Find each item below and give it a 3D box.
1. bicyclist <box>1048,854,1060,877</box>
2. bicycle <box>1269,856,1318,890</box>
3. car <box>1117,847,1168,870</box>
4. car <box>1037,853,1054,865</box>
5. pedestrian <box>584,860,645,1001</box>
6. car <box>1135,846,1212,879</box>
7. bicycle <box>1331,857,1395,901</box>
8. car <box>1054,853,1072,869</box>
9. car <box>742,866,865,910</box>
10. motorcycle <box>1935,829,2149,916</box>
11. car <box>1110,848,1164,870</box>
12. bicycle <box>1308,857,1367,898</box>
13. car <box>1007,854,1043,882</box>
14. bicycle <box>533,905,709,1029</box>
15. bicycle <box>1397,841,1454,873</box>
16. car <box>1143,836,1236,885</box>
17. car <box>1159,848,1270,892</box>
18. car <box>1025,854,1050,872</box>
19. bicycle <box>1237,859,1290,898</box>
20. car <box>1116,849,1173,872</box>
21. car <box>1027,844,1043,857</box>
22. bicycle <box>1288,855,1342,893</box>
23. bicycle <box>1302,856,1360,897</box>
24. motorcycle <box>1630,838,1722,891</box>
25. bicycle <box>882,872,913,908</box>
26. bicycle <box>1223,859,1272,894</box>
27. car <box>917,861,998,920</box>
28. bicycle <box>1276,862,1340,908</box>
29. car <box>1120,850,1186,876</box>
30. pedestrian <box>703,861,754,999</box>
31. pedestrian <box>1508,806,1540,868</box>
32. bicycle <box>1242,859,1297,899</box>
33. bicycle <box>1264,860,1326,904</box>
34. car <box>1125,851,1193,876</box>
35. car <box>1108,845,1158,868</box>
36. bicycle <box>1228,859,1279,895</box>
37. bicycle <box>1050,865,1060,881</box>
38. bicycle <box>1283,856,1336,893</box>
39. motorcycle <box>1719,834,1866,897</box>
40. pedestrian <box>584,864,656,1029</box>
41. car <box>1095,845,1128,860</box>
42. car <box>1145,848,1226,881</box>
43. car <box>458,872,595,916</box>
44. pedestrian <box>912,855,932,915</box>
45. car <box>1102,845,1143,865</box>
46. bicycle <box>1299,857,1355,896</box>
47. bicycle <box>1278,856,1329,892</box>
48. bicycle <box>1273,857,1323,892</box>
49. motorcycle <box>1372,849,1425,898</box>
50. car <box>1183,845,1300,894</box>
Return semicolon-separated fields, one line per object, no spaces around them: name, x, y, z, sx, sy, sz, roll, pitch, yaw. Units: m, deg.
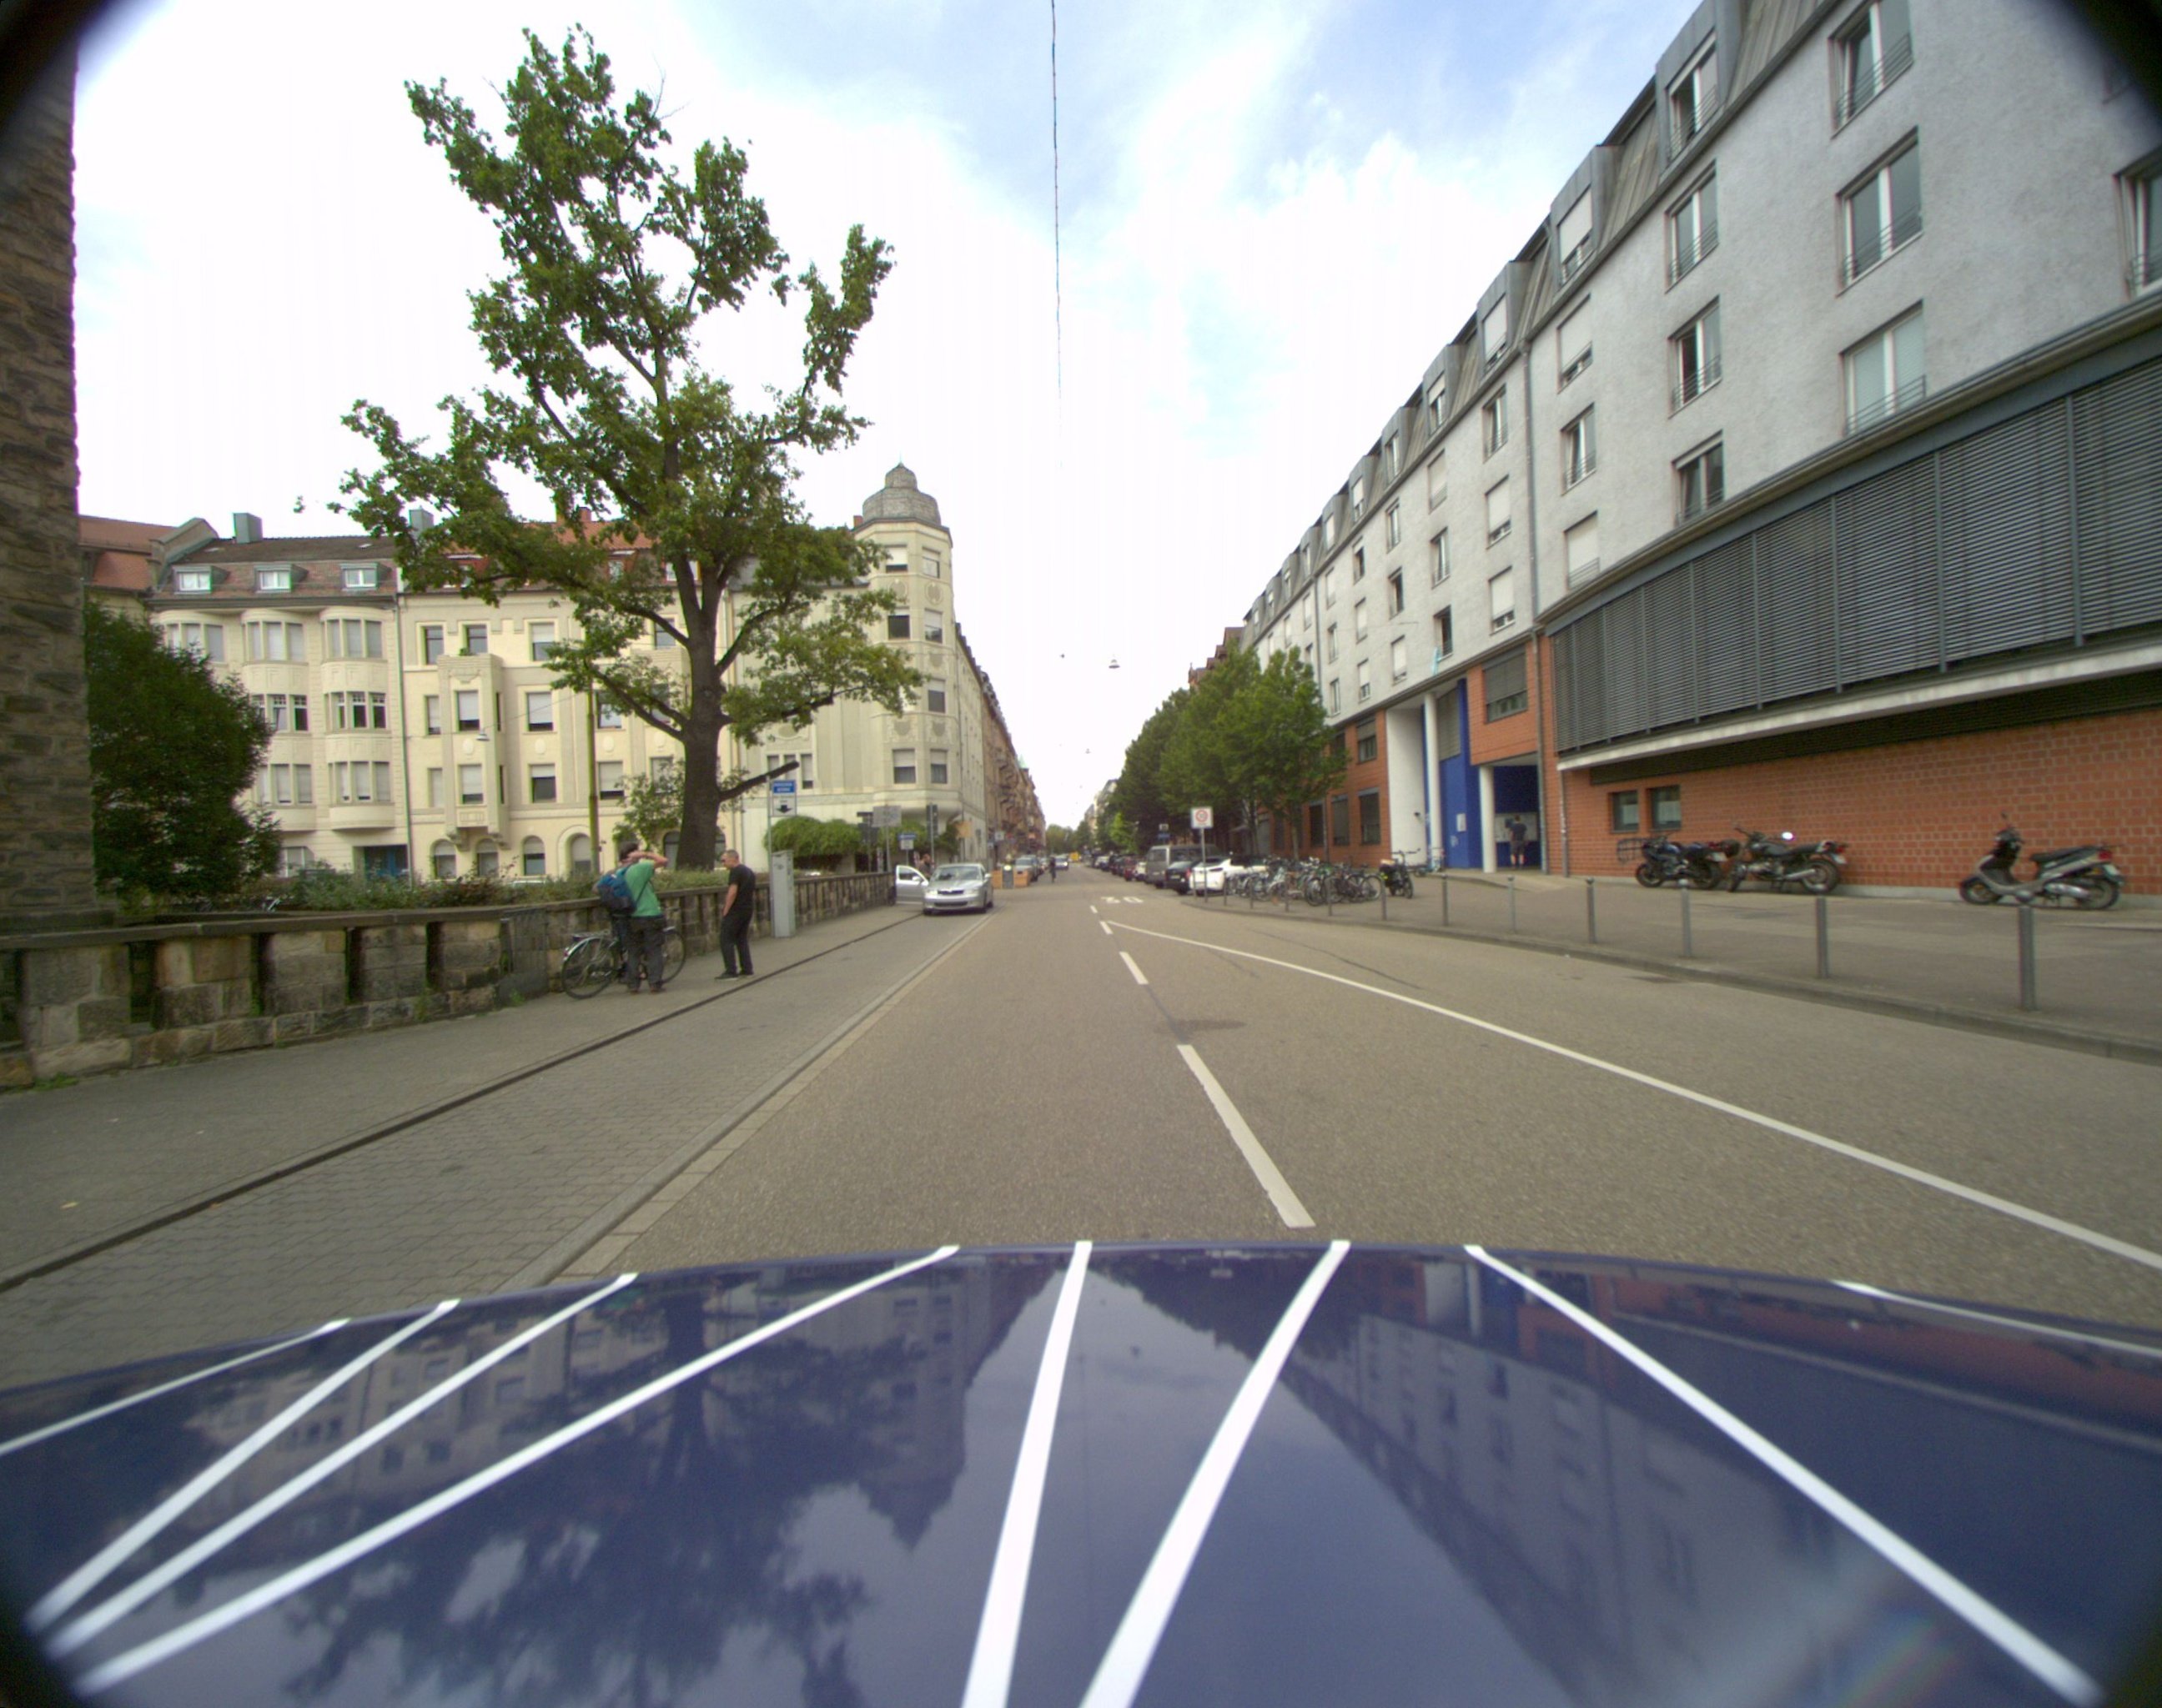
bicyclist;-1.750;0.750;49.108;0.649;1.408;1.094;-2;1;0
bicycle;6.845;0.614;24.511;1.409;1.020;0.402;-3;1;1
car;5.171;0.364;63.749;4.012;1.672;1.687;-3;0;-34
car;-5.047;0.703;108.342;1.853;1.505;4.007;-3;0;3
pedestrian;-5.914;0.943;9.653;0.509;1.710;0.531;-3;1;-22
car;5.058;0.457;41.343;4.012;1.605;1.708;-3;0;-34
bicycle;7.114;0.624;19.188;1.409;1.020;0.402;-3;1;1
car;-2.260;0.832;96.736;1.942;1.913;4.007;-3;0;3
car;-10.820;1.306;29.778;4.031;1.461;1.910;-2;1;8
motorcycle;12.968;0.233;10.351;0.585;1.042;1.793;-4;0;0
car;4.451;0.370;59.878;4.012;1.558;1.687;-3;0;-34
bicycle;6.881;0.630;20.426;1.409;1.020;0.402;-3;1;1
car;-3.670;0.899;50.690;1.853;1.661;4.007;-3;0;3
bicycle;-5.238;1.239;8.800;0.533;1.143;1.755;-2;1;19
bicycle;12.412;0.111;27.427;1.614;0.921;0.932;-8;0;11
car;5.127;0.299;35.805;4.011;1.986;1.857;-4;2;-32
car;5.316;0.593;30.054;4.324;1.461;1.713;-3;1;-35
car;-4.053;0.840;71.403;1.853;1.568;4.007;-3;0;3
bicycle;5.382;0.705;22.414;1.409;1.020;0.402;-5;1;1
car;4.799;0.479;57.362;4.012;1.558;1.687;-3;0;-34
car;-5.770;-0.445;96.187;1.854;1.505;4.005;-3;0;-2
bicycle;6.841;0.589;22.264;1.409;1.020;0.402;-3;1;1
bicycle;6.892;0.618;20.963;1.409;1.020;0.402;-3;1;1
motorcycle;12.843;0.212;16.469;0.585;1.042;1.656;-4;0;-2
bicycle;-6.190;1.185;25.679;0.523;1.099;1.978;-2;0;0
bicycle;5.356;0.725;24.495;1.409;1.020;0.402;-5;1;1
car;-3.518;0.995;22.348;1.760;1.460;4.417;-2;0;-2
bicycle;5.632;0.765;18.883;1.409;1.032;0.402;-5;1;1
car;4.674;0.569;49.091;4.012;1.445;1.687;-3;0;-34
pedestrian;-4.547;0.954;9.820;0.510;1.710;0.530;-3;1;-24
pedestrian;14.849;-0.567;25.474;0.729;2.002;0.783;-2;1;18
bicycle;5.401;0.714;21.772;1.409;1.032;0.402;-5;1;1
bicycle;5.562;0.723;19.774;1.409;1.032;0.402;-5;1;1
car;4.835;0.583;46.882;4.012;1.381;1.592;-3;0;-34
car;4.567;0.215;66.207;4.052;1.847;1.687;-3;0;-34
bicycle;5.368;0.713;23.687;1.409;1.020;0.402;-5;1;1
bicycle;-1.681;1.231;49.231;0.586;0.927;1.783;-3;0;0
bicycle;6.829;0.601;22.750;1.409;1.020;0.402;-3;1;1
motorcycle;13.080;0.211;14.057;0.585;1.042;1.965;-4;0;-12
pedestrian;-5.018;0.972;8.295;0.532;1.710;0.508;-3;1;-24
car;3.900;-0.199;97.426;4.012;1.746;1.687;-3;0;-34
car;5.358;0.532;38.734;4.012;1.438;1.621;-3;0;-34
car;-21.726;1.558;29.878;4.034;1.526;1.848;-2;-2;1
pedestrian;-4.668;0.895;22.313;0.468;1.725;0.410;-2;1;-2
car;4.303;0.129;79.325;4.012;1.847;1.687;-3;0;-34
bicycle;6.947;0.626;21.450;1.409;1.020;0.402;-3;1;1
bicycle;6.849;0.607;23.444;1.409;1.020;0.402;-3;1;1
bicycle;6.859;0.654;24.036;1.409;1.020;0.402;-3;1;1
motorcycle;8.188;0.478;19.660;0.585;1.166;1.779;-4;0;1
car;5.830;0.514;27.495;4.011;1.536;1.599;-3;1;-29
